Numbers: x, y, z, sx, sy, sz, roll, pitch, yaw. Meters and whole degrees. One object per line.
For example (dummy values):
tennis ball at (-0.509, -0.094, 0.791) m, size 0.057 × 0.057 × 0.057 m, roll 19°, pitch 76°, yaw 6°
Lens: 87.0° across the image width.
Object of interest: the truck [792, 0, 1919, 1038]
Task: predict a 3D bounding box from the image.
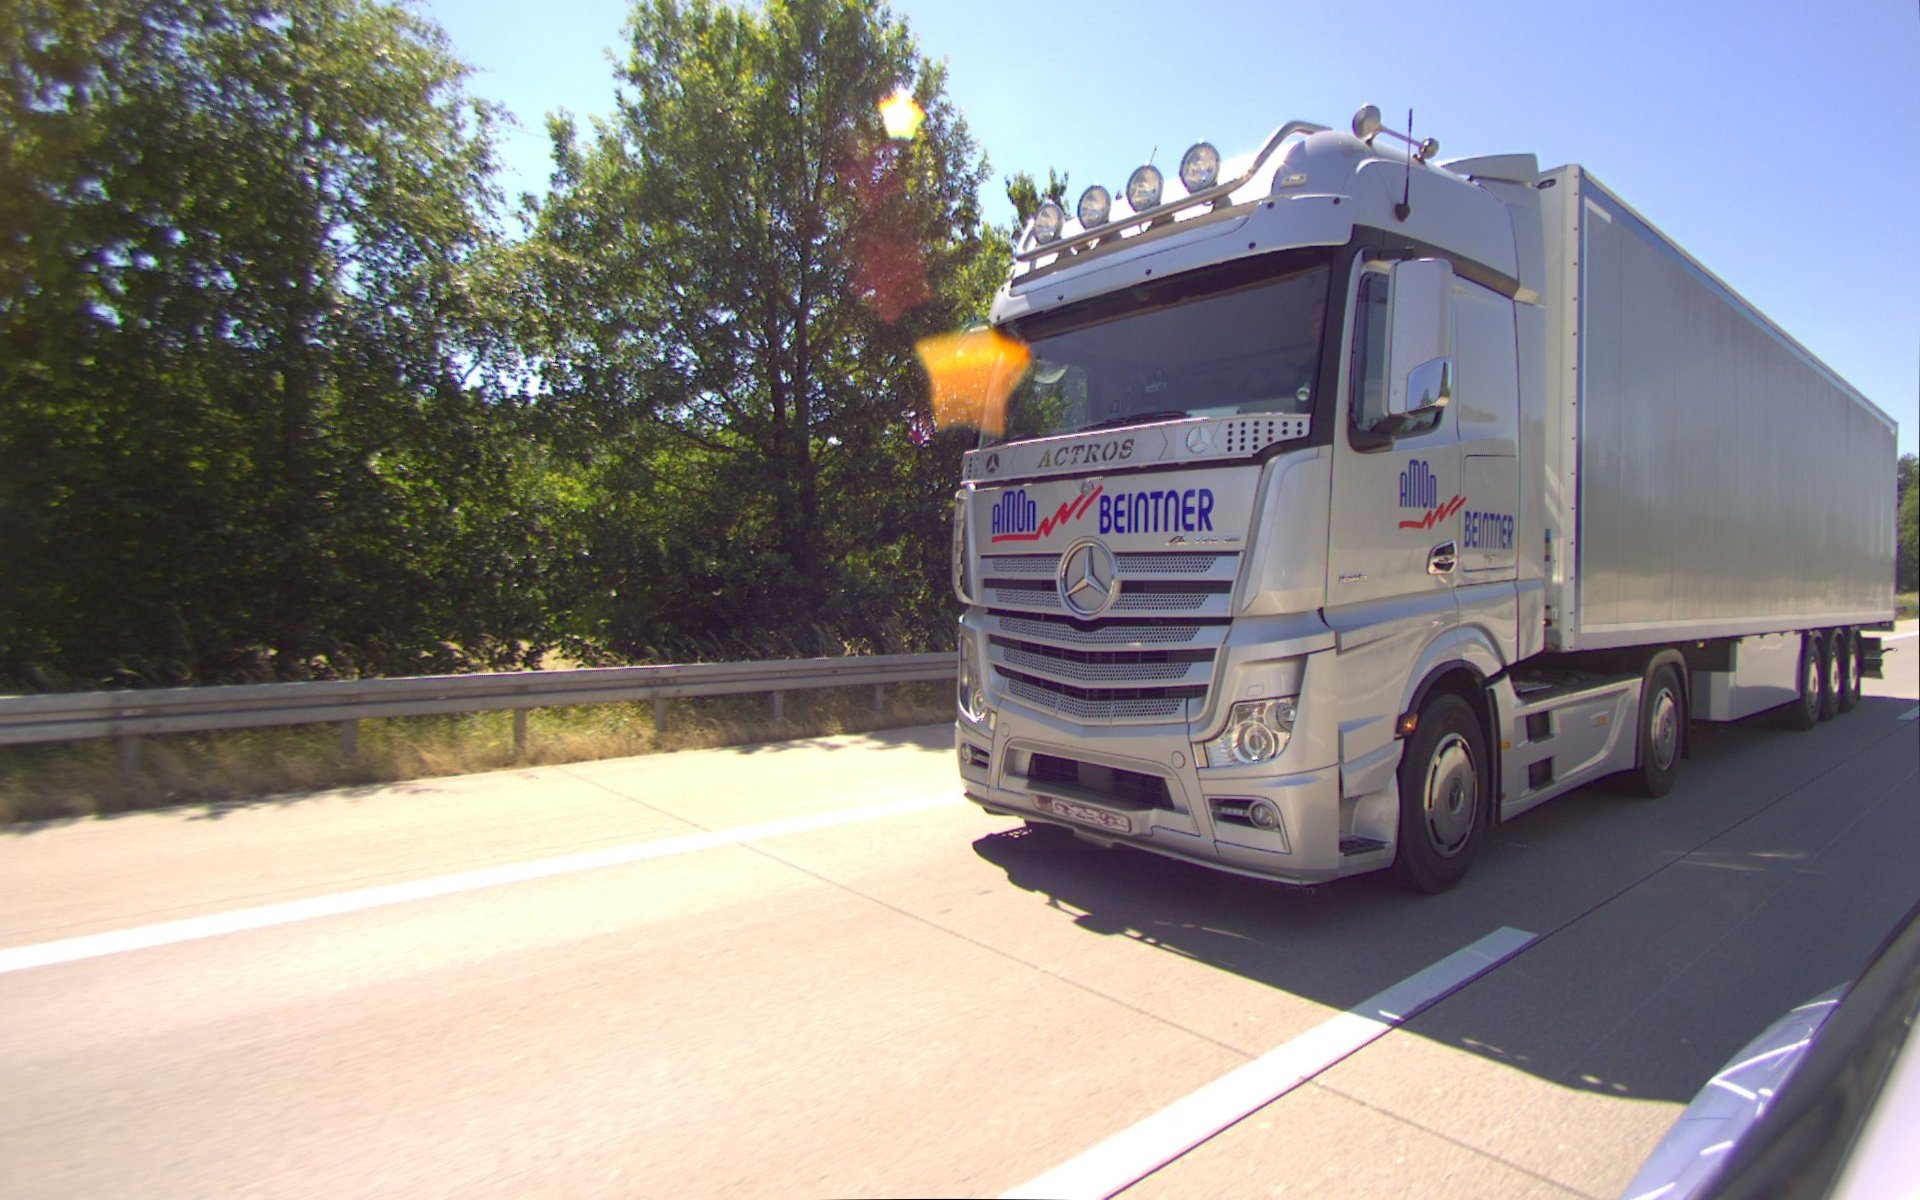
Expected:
truck at (7.026, -1.534, 10.408) m, size 17.923 × 5.863 × 3.583 m, roll 0°, pitch -2°, yaw -40°
